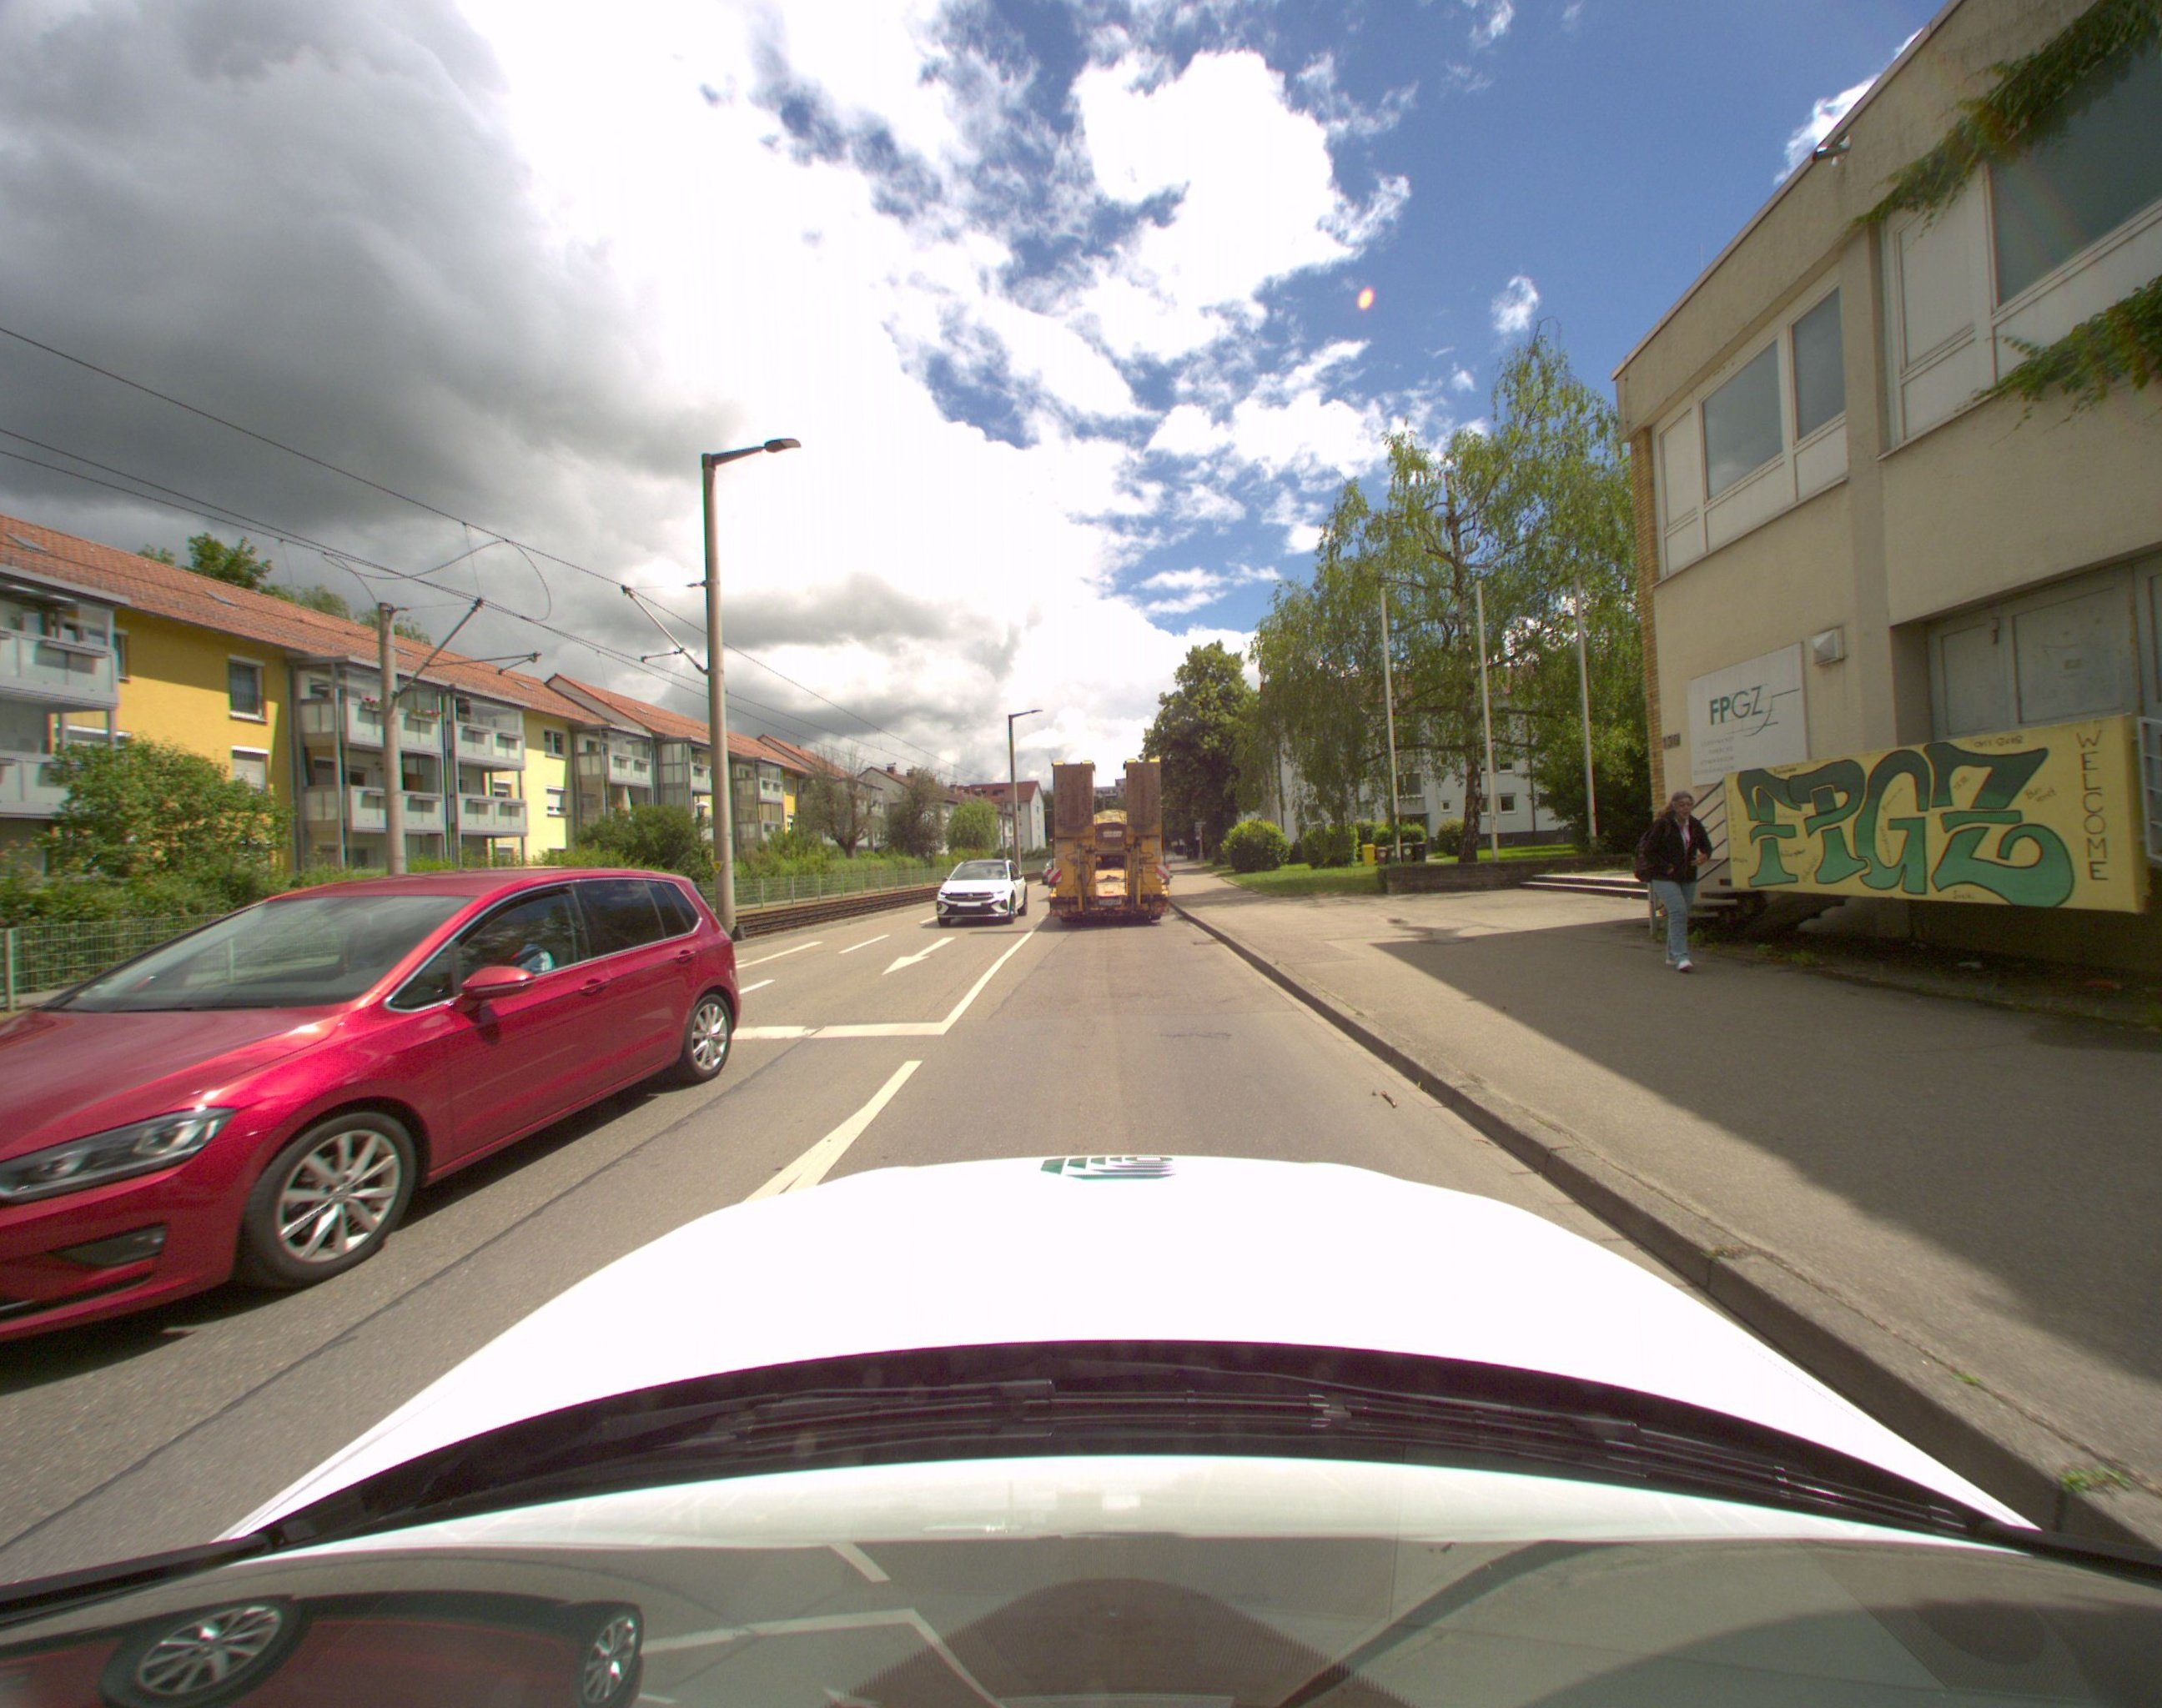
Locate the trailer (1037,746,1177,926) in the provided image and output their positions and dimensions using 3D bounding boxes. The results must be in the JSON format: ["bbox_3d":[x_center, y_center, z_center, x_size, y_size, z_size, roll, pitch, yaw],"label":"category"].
[{"bbox_3d":[0.709,-0.355,23.001,2.817,3.646,12.358,-1,0,2],"label":"trailer"}]

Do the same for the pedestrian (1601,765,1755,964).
[{"bbox_3d":[5.768,0.102,7.937,0.804,1.771,0.819,-5,-1,11],"label":"pedestrian"}]

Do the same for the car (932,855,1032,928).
[{"bbox_3d":[-2.326,0.841,20.128,1.753,1.552,4.003,-2,0,3],"label":"car"}]

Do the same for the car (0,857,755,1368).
[{"bbox_3d":[-3.581,0.817,4.540,1.656,1.552,4.004,-1,0,4],"label":"car"}]

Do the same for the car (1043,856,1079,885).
[{"bbox_3d":[-1.071,0.885,45.087,1.622,1.432,4.170,-2,0,3],"label":"car"}]
